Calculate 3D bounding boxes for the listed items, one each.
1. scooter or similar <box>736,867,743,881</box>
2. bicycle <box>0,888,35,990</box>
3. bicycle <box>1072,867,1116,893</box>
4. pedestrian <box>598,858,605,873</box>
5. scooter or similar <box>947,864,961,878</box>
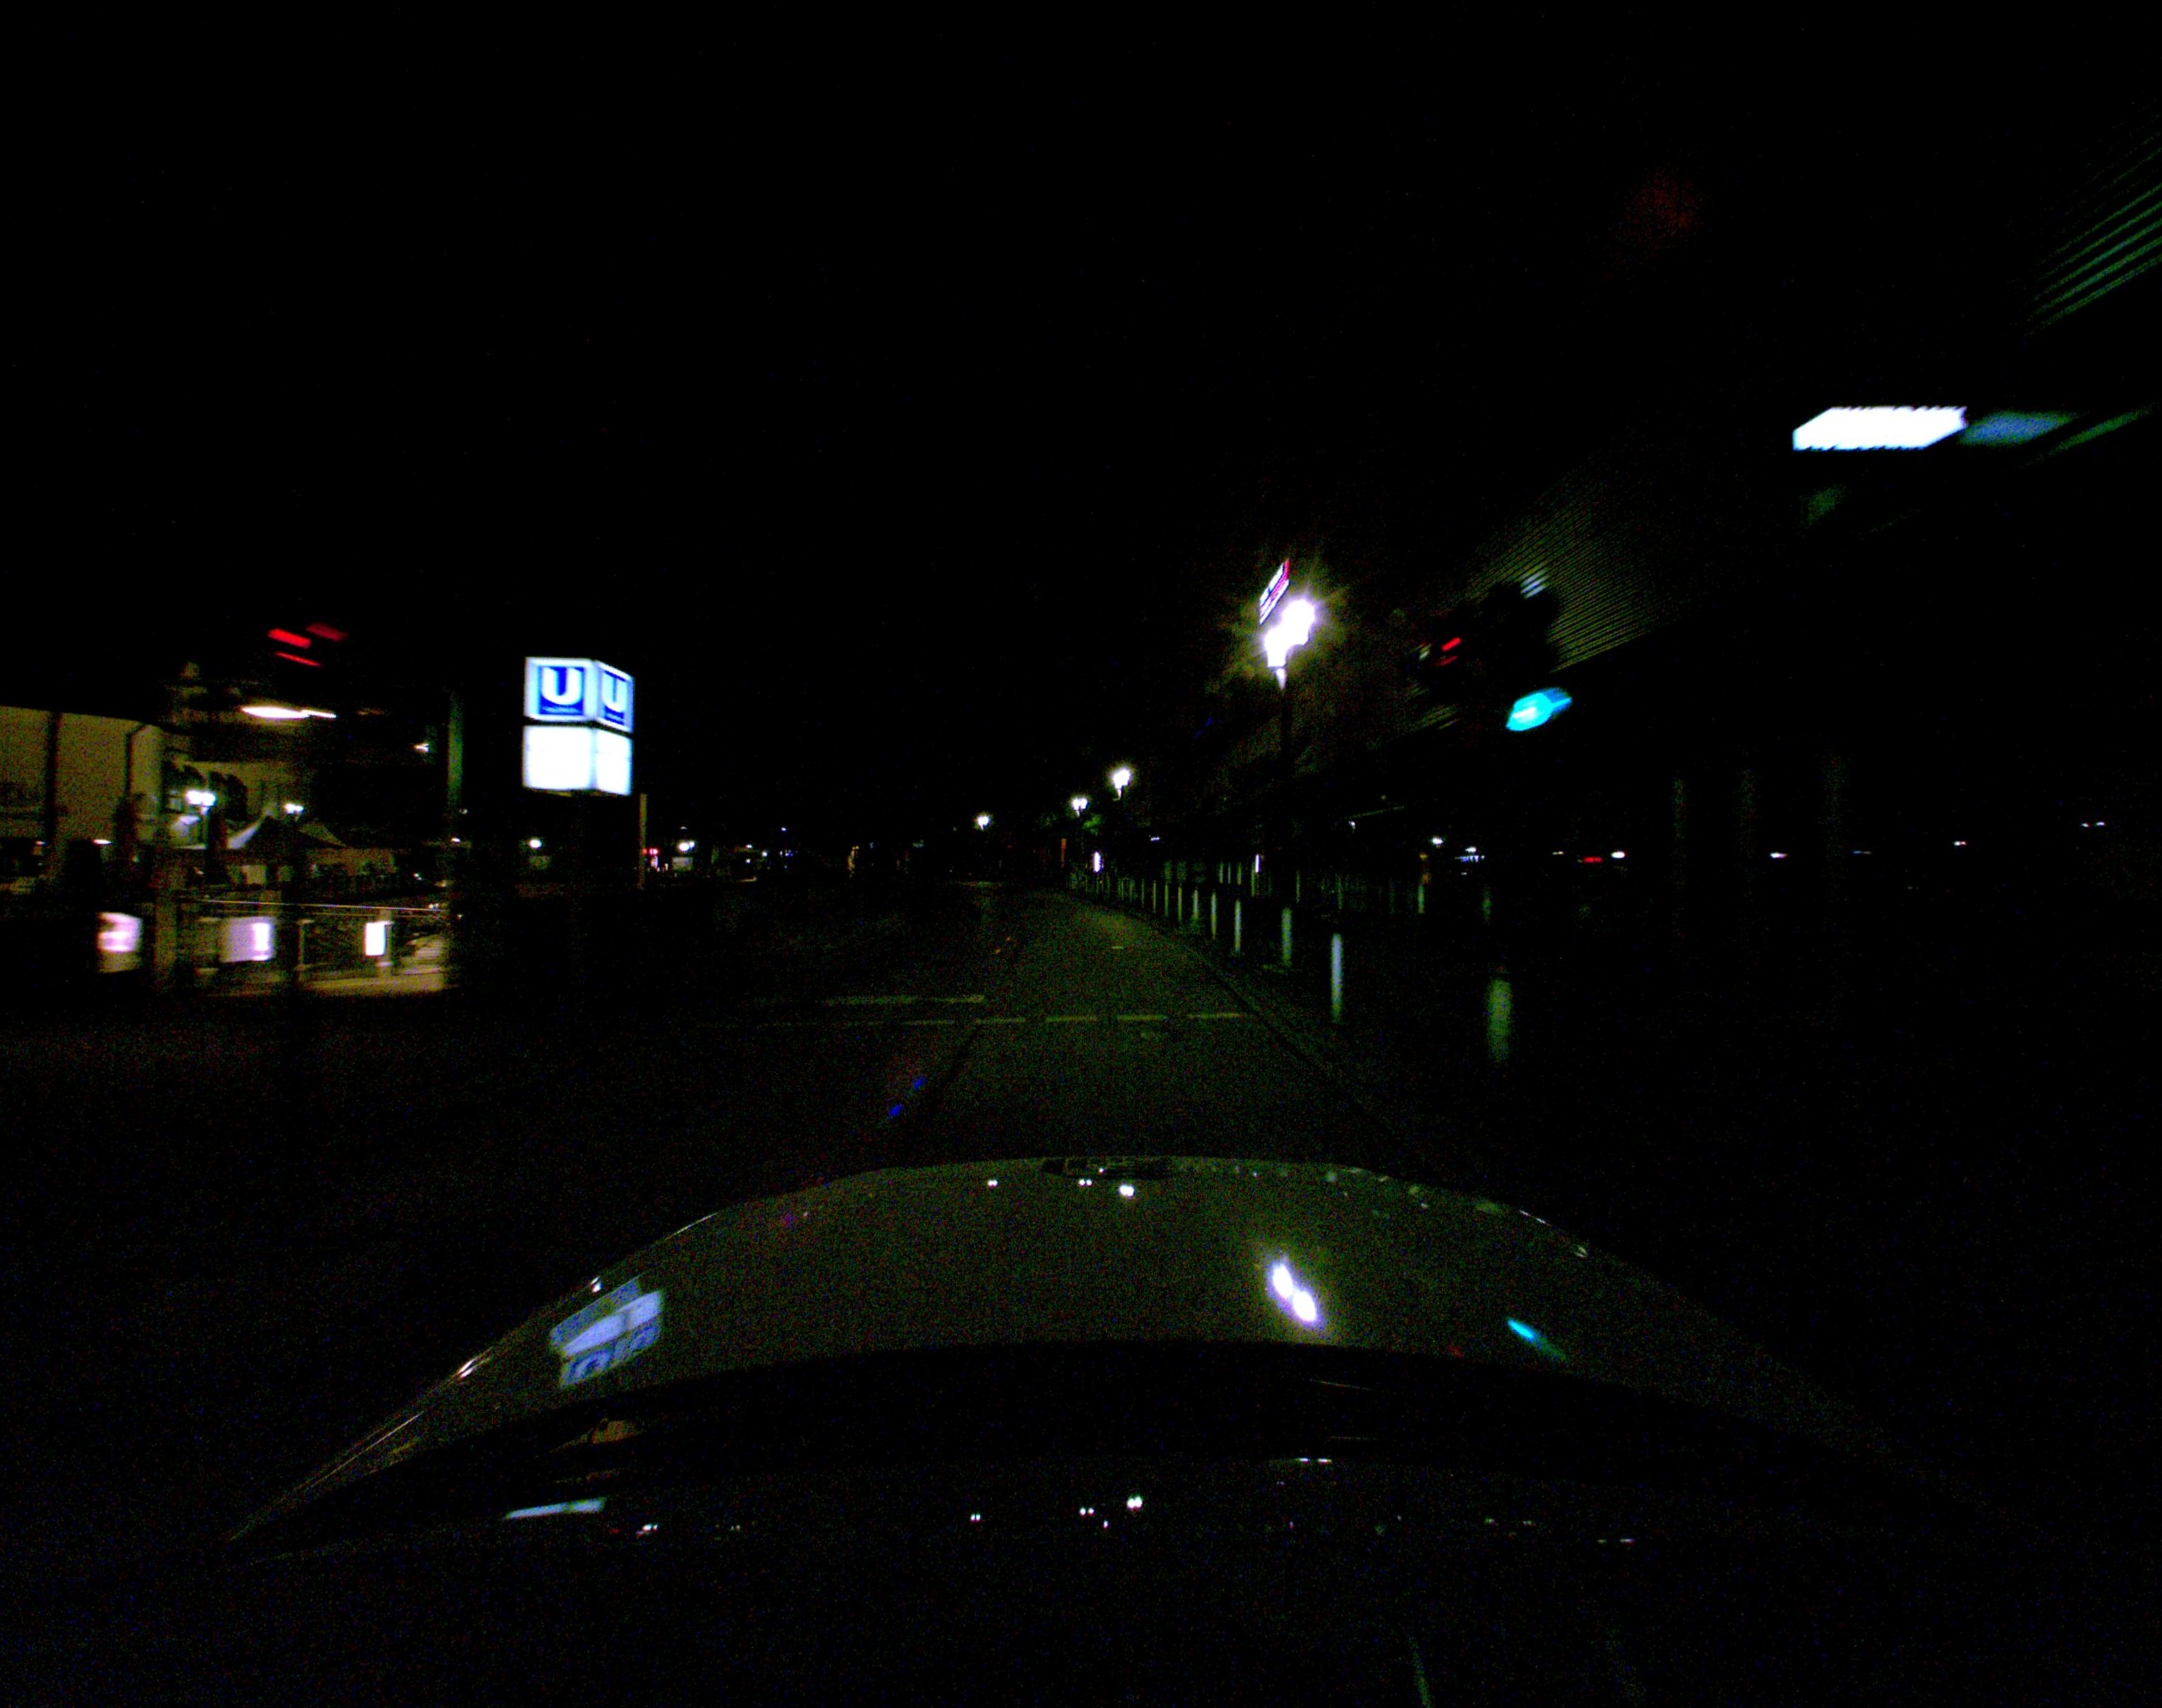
[{"bbox_3d":[-32.899,1.905,78.450,0.433,1.284,1.135,-1,0,-33],"label":"scooter or similar"},{"bbox_3d":[-12.853,1.011,9.148,0.764,1.162,1.730,-1,0,-31],"label":"bicycle"},{"bbox_3d":[0.562,1.107,35.010,1.757,1.062,0.650,0,0,-24],"label":"bicycle"},{"bbox_3d":[-49.619,1.205,84.273,0.475,1.546,0.463,-1,0,27],"label":"pedestrian"},{"bbox_3d":[-12.098,1.625,77.550,1.253,1.227,0.593,2,-1,-27],"label":"scooter or similar"}]
